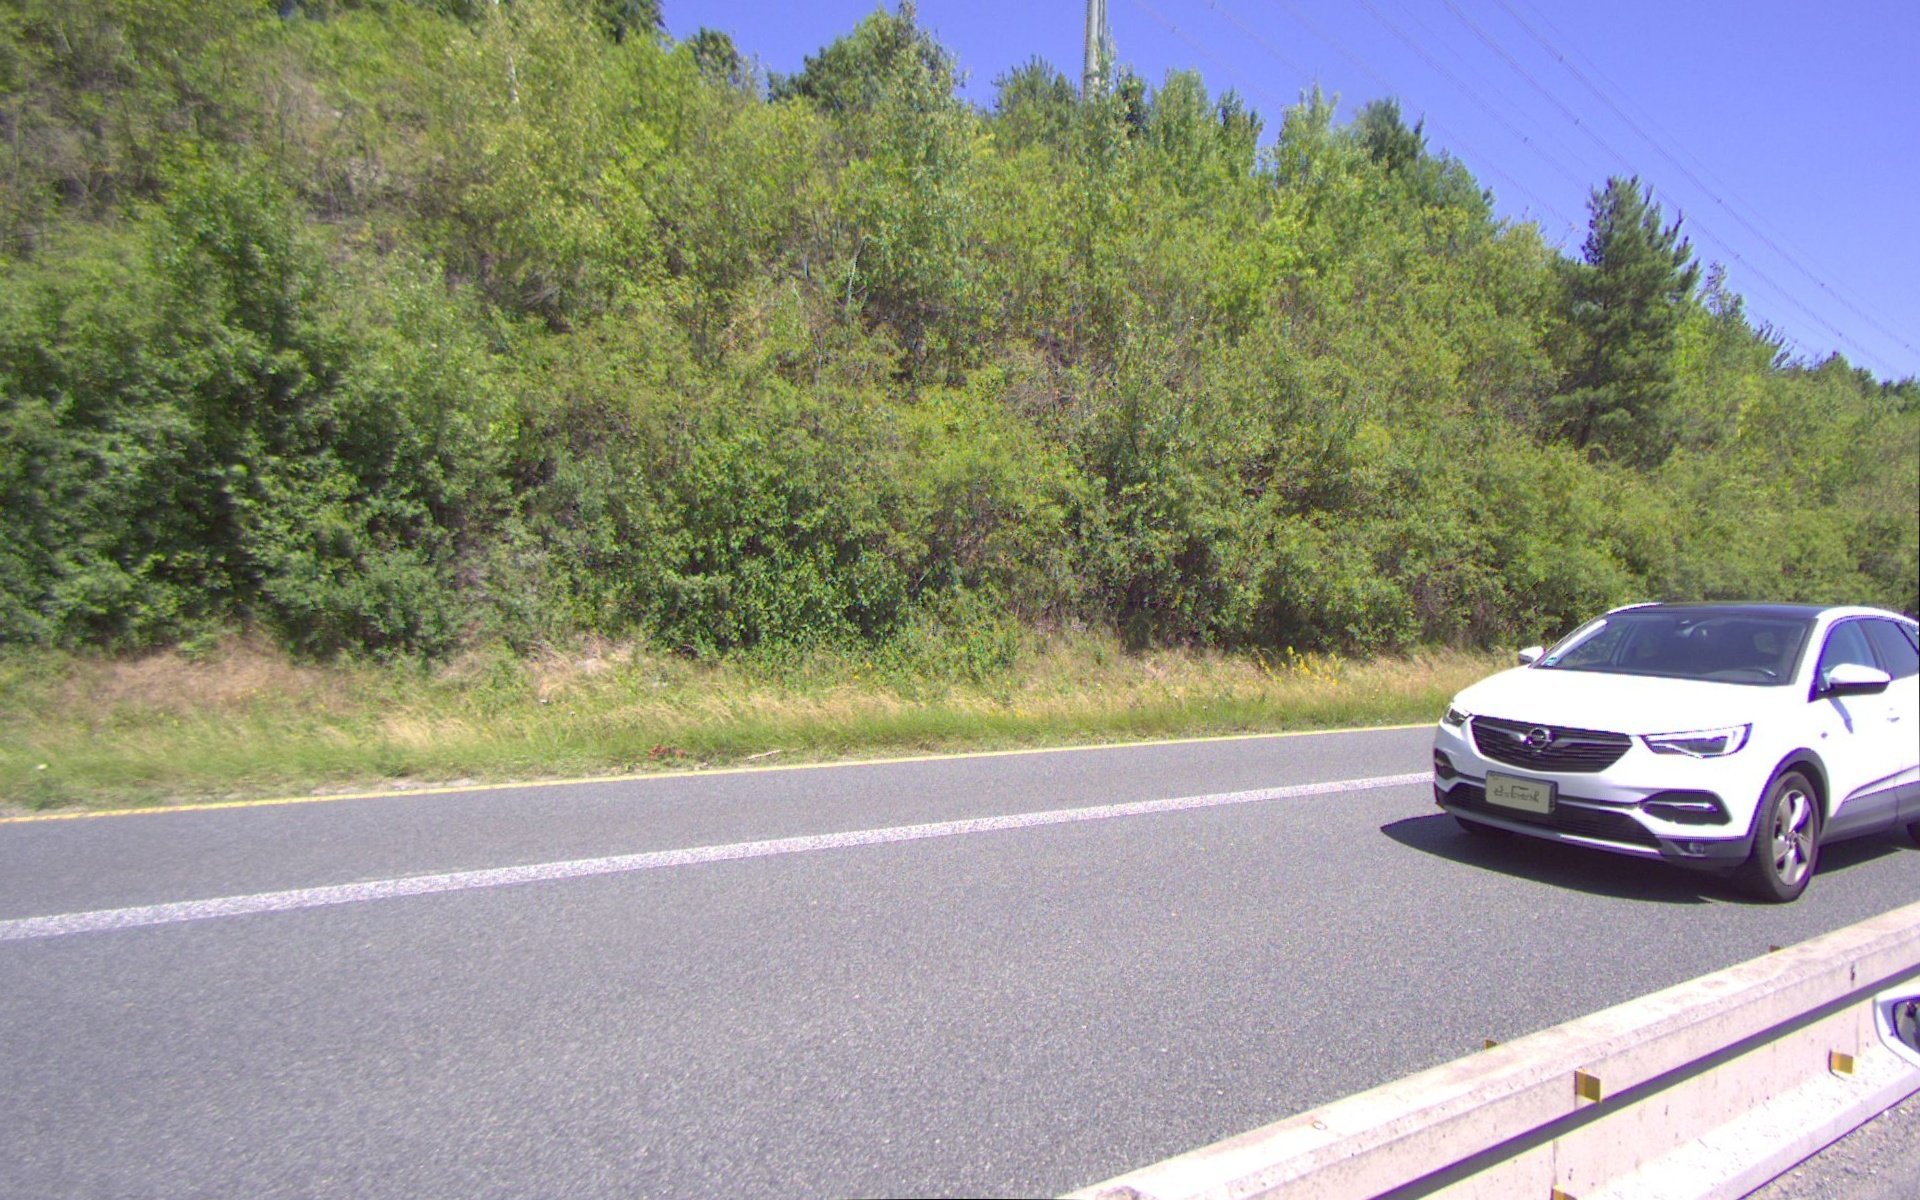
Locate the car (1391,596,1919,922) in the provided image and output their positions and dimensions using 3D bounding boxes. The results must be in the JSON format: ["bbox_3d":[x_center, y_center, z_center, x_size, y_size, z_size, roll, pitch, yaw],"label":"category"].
[{"bbox_3d":[5.217,0.809,6.813,4.616,1.554,1.834,1,0,-31],"label":"car"}]

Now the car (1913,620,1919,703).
[{"bbox_3d":[20.503,1.241,19.627,3.948,1.586,1.691,1,1,-31],"label":"car"}]
